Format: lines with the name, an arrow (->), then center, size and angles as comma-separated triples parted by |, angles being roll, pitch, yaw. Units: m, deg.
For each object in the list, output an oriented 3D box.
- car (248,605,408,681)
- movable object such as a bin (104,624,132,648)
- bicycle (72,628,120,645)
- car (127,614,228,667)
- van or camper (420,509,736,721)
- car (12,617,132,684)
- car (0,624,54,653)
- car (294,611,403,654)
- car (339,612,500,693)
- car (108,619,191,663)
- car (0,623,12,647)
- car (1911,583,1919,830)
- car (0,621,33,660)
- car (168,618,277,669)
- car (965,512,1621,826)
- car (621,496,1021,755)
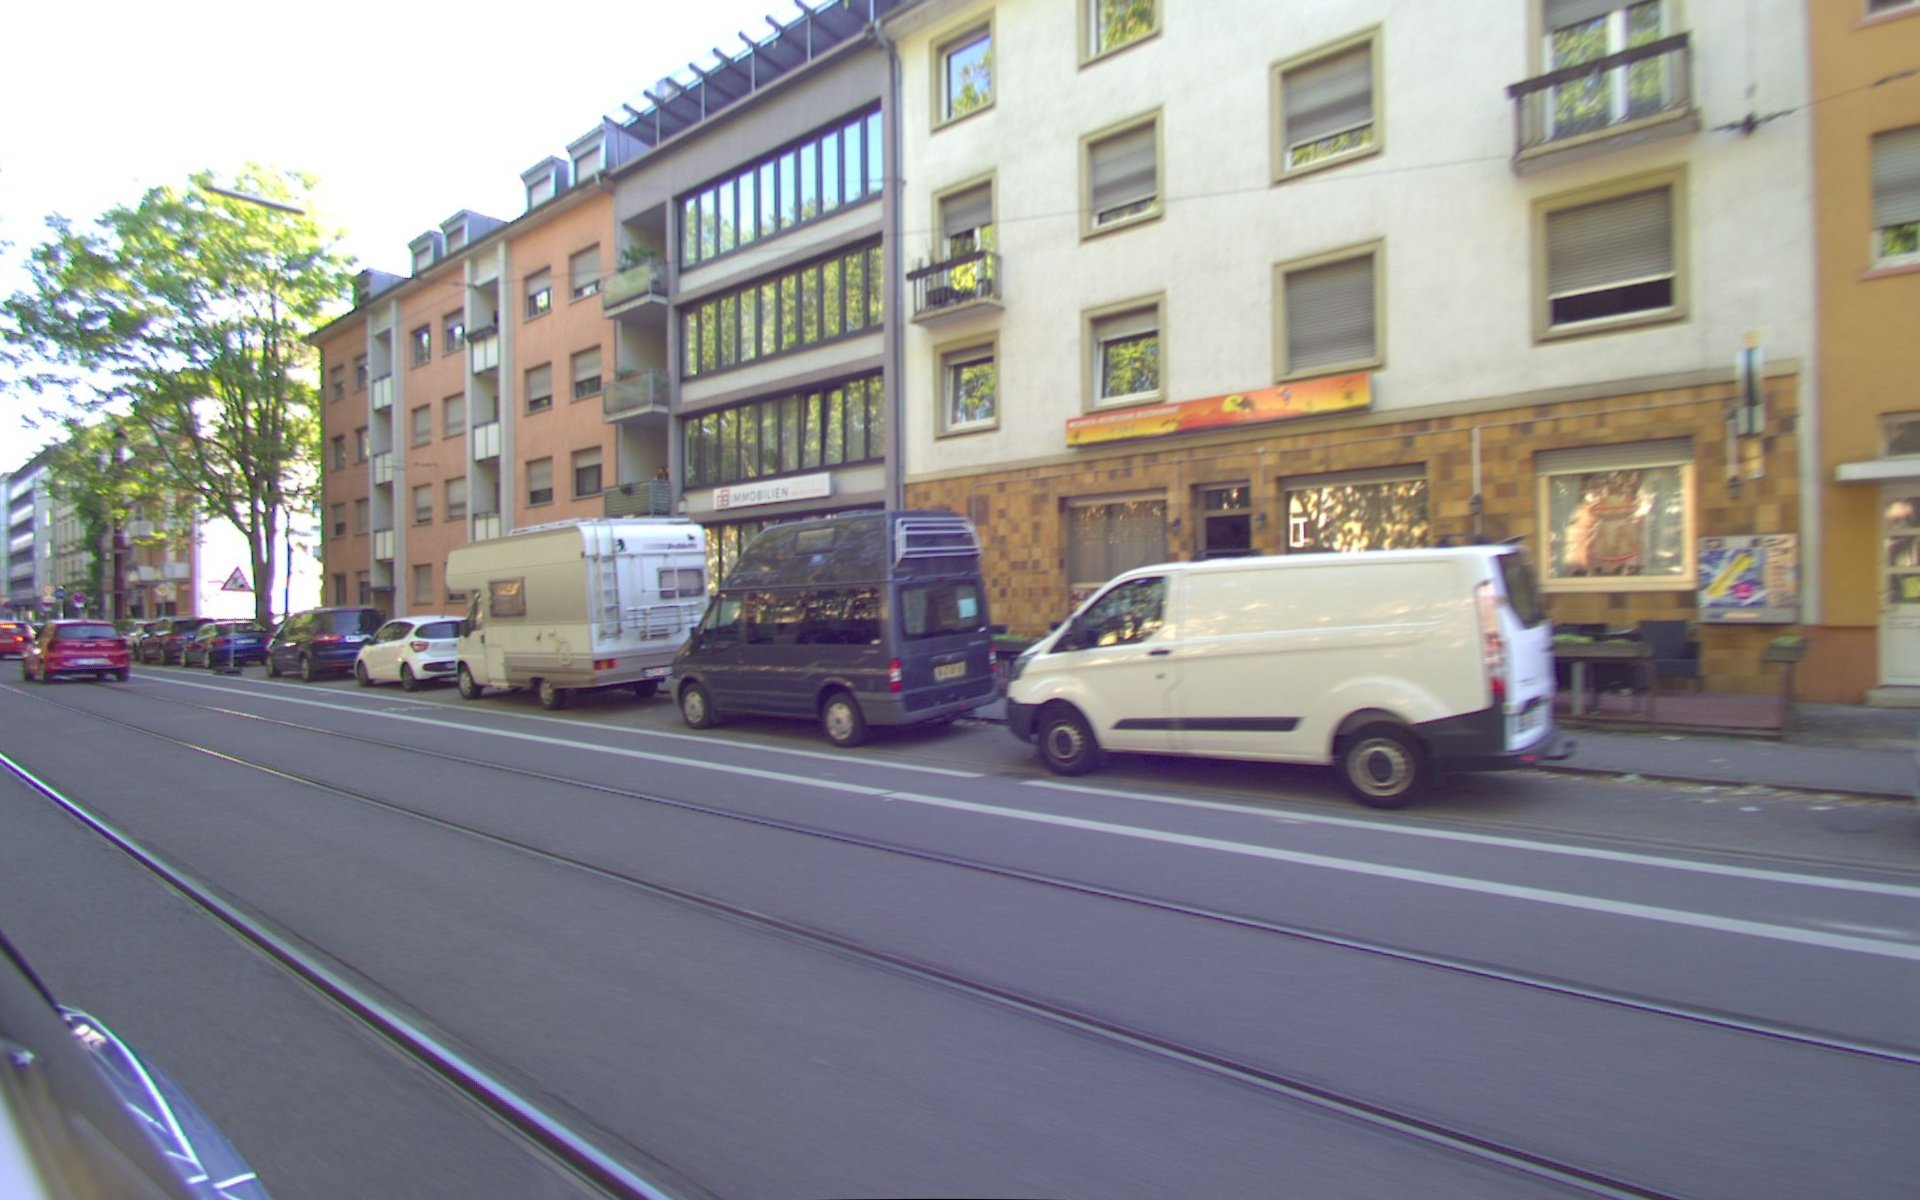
car -> -15.970, 1.043, 25.459 | 5.066, 1.699, 1.933 | -2, 0, 40
movable object such as a bin -> -50.326, 2.135, 60.480 | 0.747, 1.375, 1.198 | -2, -2, 42
bicycle -> -59.977, 2.534, 70.262 | 0.698, 1.070, 2.428 | -2, 1, 37
car -> -27.149, 1.377, 35.046 | 4.584, 1.622, 1.763 | -2, 2, 40
van or camper -> -6.834, 0.210, 17.593 | 6.395, 3.063, 2.313 | -1, 2, 42
car -> -21.604, 1.176, 24.572 | 3.948, 1.490, 1.646 | -1, -1, 41
car -> -52.777, 2.137, 57.233 | 3.927, 1.494, 1.708 | -1, 1, 40
car -> -31.184, 1.648, 51.640 | 4.675, 2.139, 1.992 | -1, 0, 13
car -> -11.743, 1.081, 21.899 | 3.858, 1.499, 1.693 | -1, 2, 40
car -> -31.194, 1.531, 38.920 | 4.088, 1.489, 1.787 | -1, 1, 42
car -> -68.193, 2.482, 70.909 | 4.877, 1.661, 1.933 | -1, 1, 40
car -> 7.249, 0.653, 5.457 | 3.040, 1.538, 1.555 | -1, 1, 43
car -> -37.312, 1.565, 39.117 | 4.066, 1.448, 1.705 | -1, 0, 41
car -> -23.294, 1.345, 31.908 | 4.379, 1.411, 1.721 | -2, 1, 40
car -> 2.739, 0.493, 9.181 | 5.242, 2.107, 1.934 | -2, 1, 39
car -> -1.993, 0.278, 13.252 | 5.305, 2.752, 2.066 | -2, 2, 40
